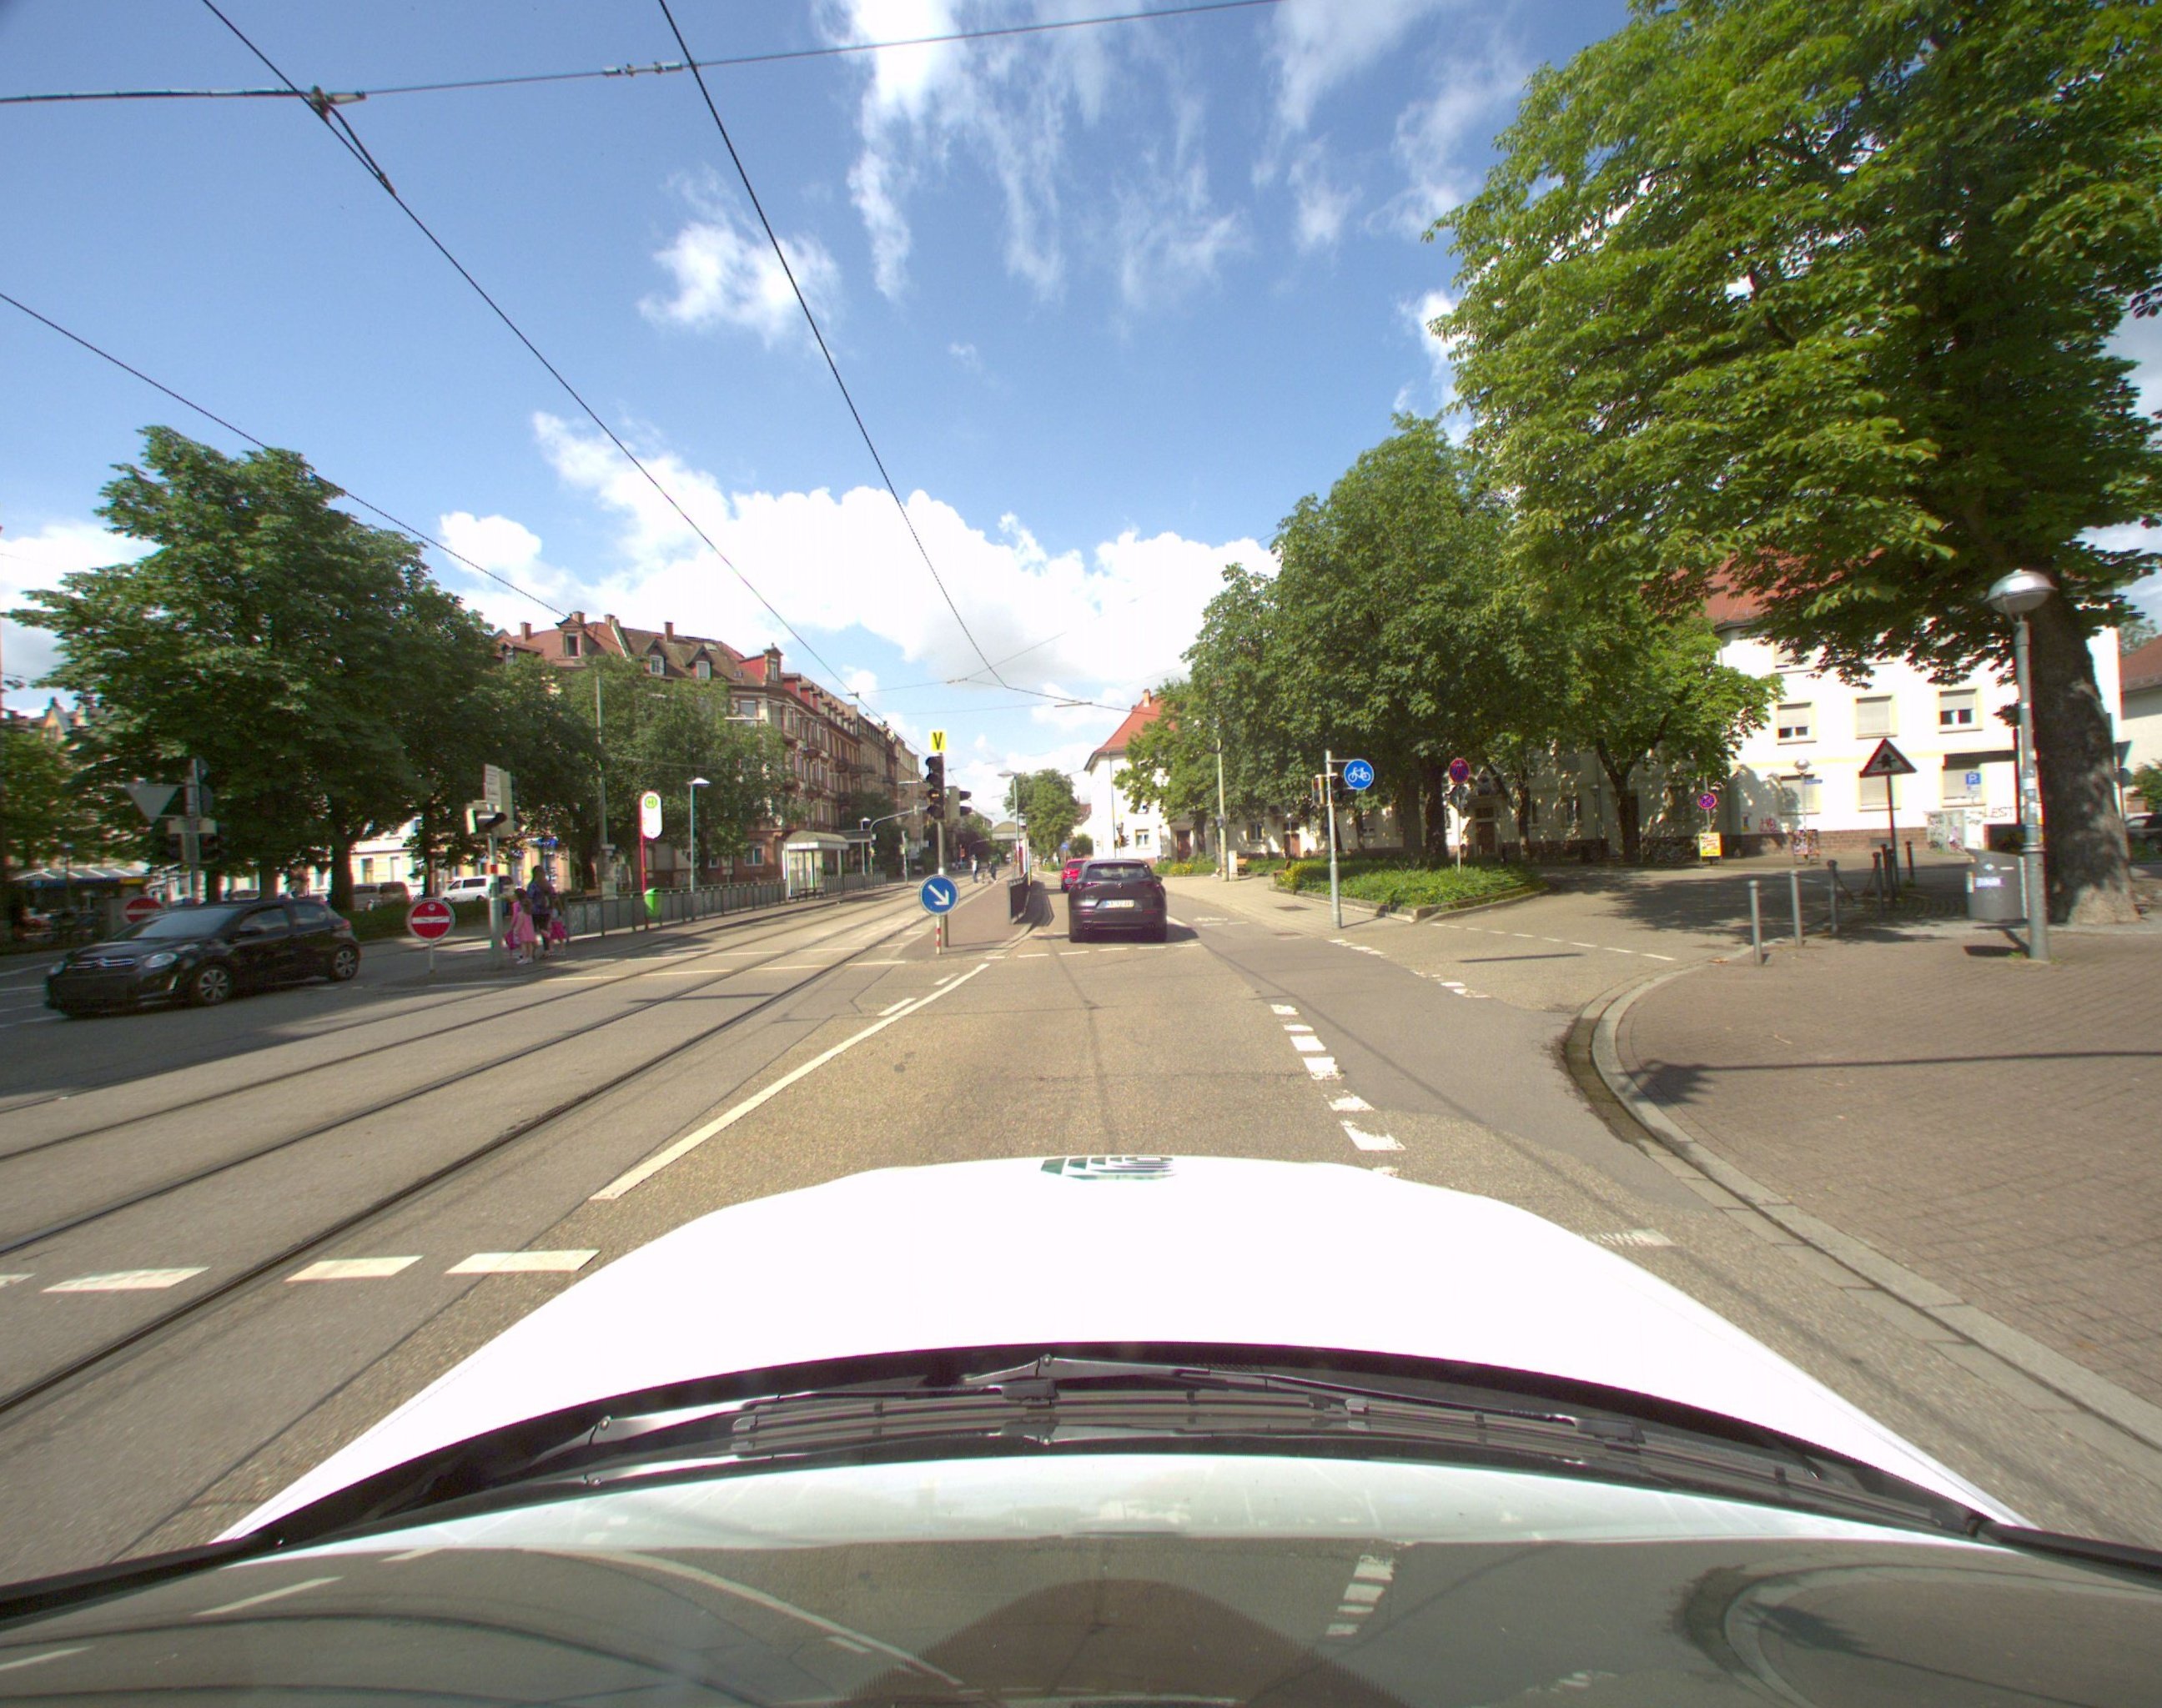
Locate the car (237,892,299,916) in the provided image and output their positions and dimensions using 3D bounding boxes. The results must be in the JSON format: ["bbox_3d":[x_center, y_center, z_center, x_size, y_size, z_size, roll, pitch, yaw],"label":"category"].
[{"bbox_3d":[-58.898,3.599,59.005,3.606,1.494,1.638,-3,0,17],"label":"car"}]

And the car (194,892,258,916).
[{"bbox_3d":[-63.456,3.714,60.443,3.875,1.555,1.726,-3,0,19],"label":"car"}]

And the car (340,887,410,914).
[{"bbox_3d":[-48.453,3.180,55.905,3.895,1.663,1.926,-3,0,19],"label":"car"}]

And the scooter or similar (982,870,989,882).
[{"bbox_3d":[-6.422,1.484,54.896,0.413,0.721,0.486,-3,0,-4],"label":"scooter or similar"}]

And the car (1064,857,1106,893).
[{"bbox_3d":[0.141,0.904,36.577,1.770,1.464,3.840,-1,0,-1],"label":"car"}]

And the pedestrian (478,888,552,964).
[{"bbox_3d":[-10.671,1.342,15.373,0.825,1.303,0.715,-5,0,-8],"label":"pedestrian"}]

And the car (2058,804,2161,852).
[{"bbox_3d":[33.677,-0.826,25.607,1.783,1.442,4.017,-3,0,16],"label":"car"}]

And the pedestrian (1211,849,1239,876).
[{"bbox_3d":[7.236,0.431,40.936,1.191,1.269,0.556,-5,0,-8],"label":"pedestrian"}]

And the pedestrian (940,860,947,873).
[{"bbox_3d":[-18.853,1.671,111.716,0.785,1.688,0.731,-3,0,-2],"label":"pedestrian"}]

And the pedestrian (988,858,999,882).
[{"bbox_3d":[-5.893,1.073,54.901,0.666,1.546,0.580,-3,0,-4],"label":"pedestrian"}]

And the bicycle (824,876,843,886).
[{"bbox_3d":[-21.155,2.317,69.633,0.381,0.747,1.722,-3,0,33],"label":"bicycle"}]

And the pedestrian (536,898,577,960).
[{"bbox_3d":[-9.987,1.415,15.504,0.437,1.108,0.422,-5,0,-8],"label":"pedestrian"}]

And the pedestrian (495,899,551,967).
[{"bbox_3d":[-9.847,1.385,14.373,0.640,1.114,0.442,-3,-1,-8],"label":"pedestrian"}]

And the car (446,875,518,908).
[{"bbox_3d":[-39.016,2.440,53.074,3.902,1.988,1.866,-3,0,20],"label":"car"}]

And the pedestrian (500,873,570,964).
[{"bbox_3d":[-9.969,1.158,14.888,0.727,1.565,0.797,-3,-1,-8],"label":"pedestrian"}]

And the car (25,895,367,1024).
[{"bbox_3d":[-12.794,1.424,12.126,1.625,1.387,3.424,-4,0,-10],"label":"car"}]

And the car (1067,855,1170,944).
[{"bbox_3d":[0.629,0.804,16.073,1.777,1.514,3.998,-1,-1,-1],"label":"car"}]

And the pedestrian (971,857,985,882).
[{"bbox_3d":[-7.044,1.050,55.688,0.769,1.674,0.667,-3,0,-4],"label":"pedestrian"}]

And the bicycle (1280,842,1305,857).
[{"bbox_3d":[15.557,-0.307,59.927,0.570,1.020,1.732,-5,1,-40],"label":"bicycle"}]
